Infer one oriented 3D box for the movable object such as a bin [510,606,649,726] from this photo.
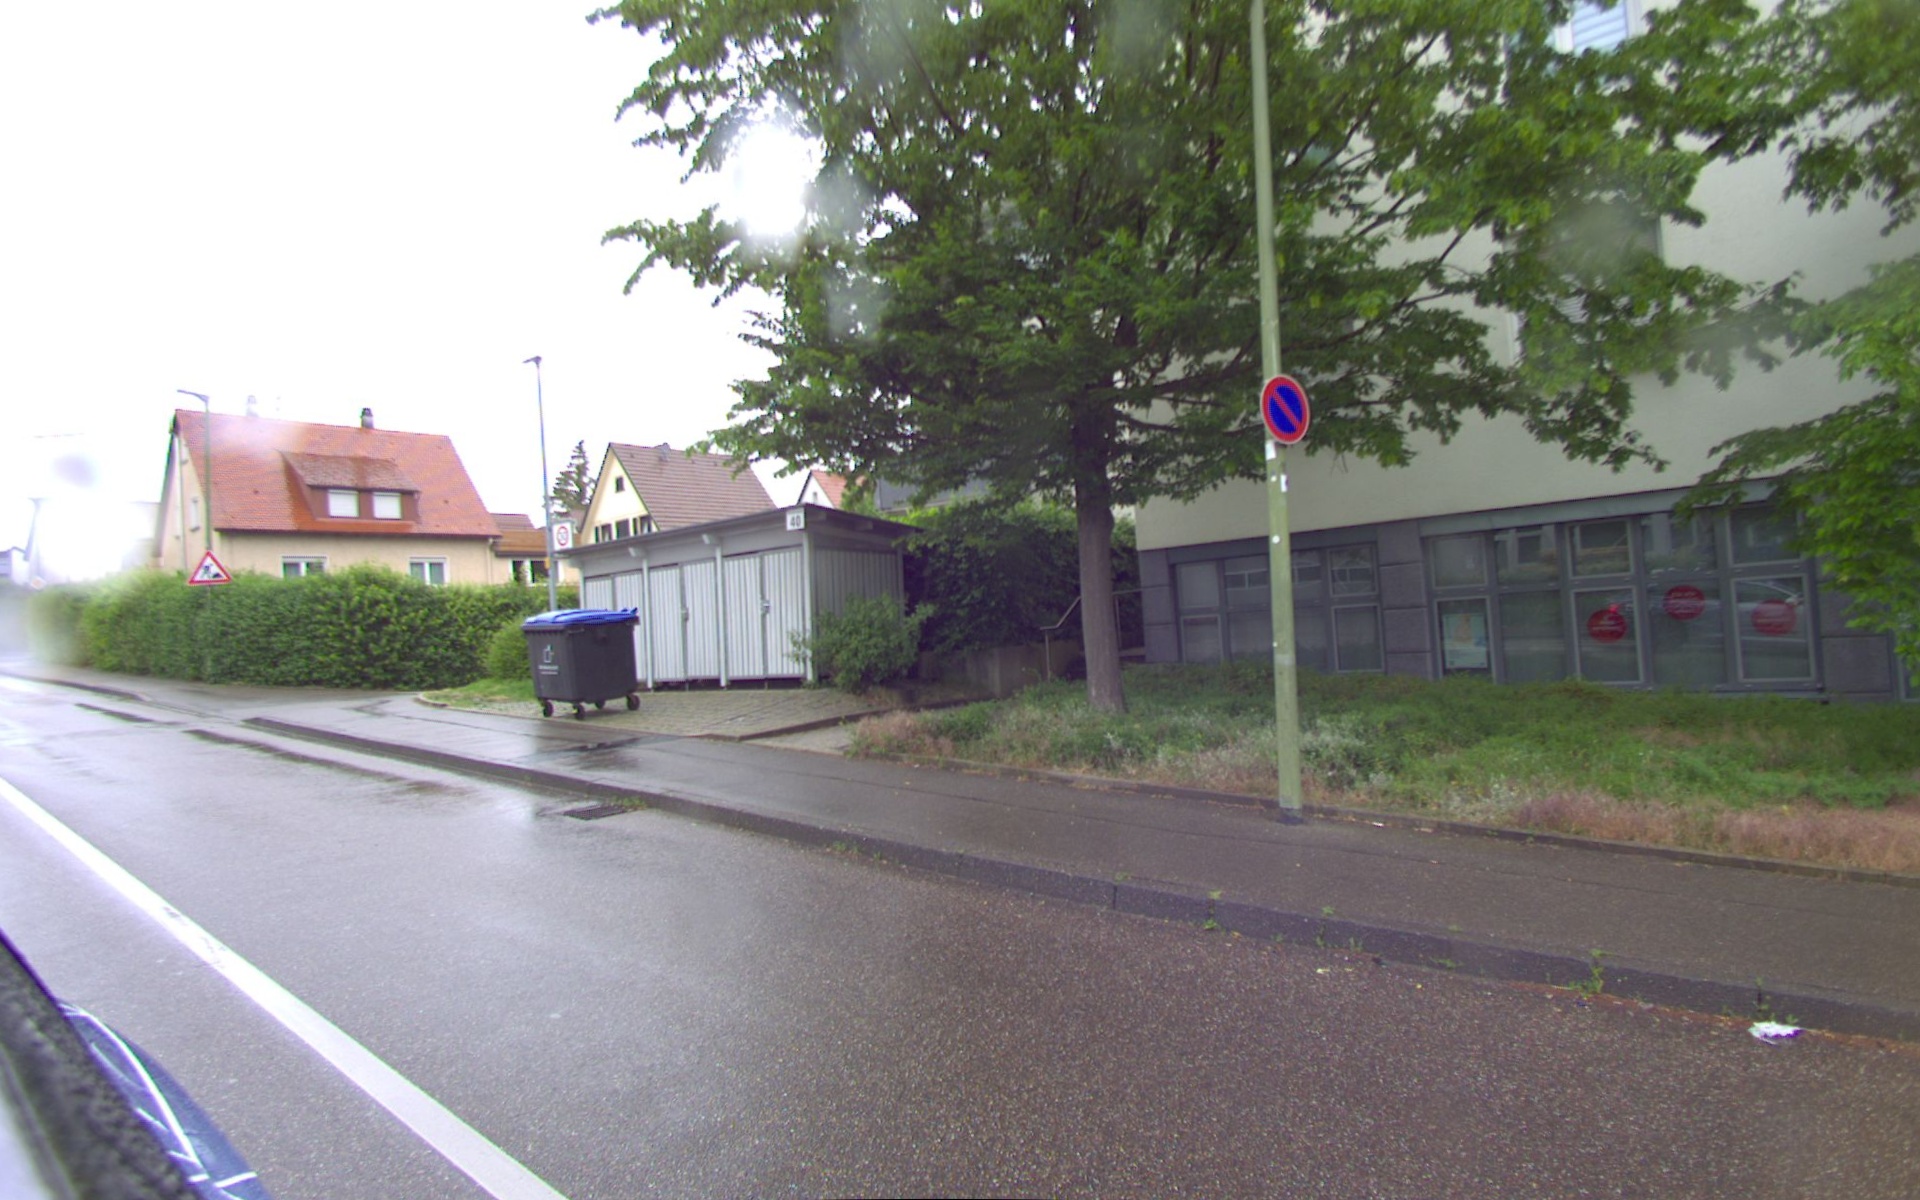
[{"bbox_3d":[-4.776,0.795,12.706,1.317,1.357,1.061,-2,1,39],"label":"movable object such as a bin"}]
